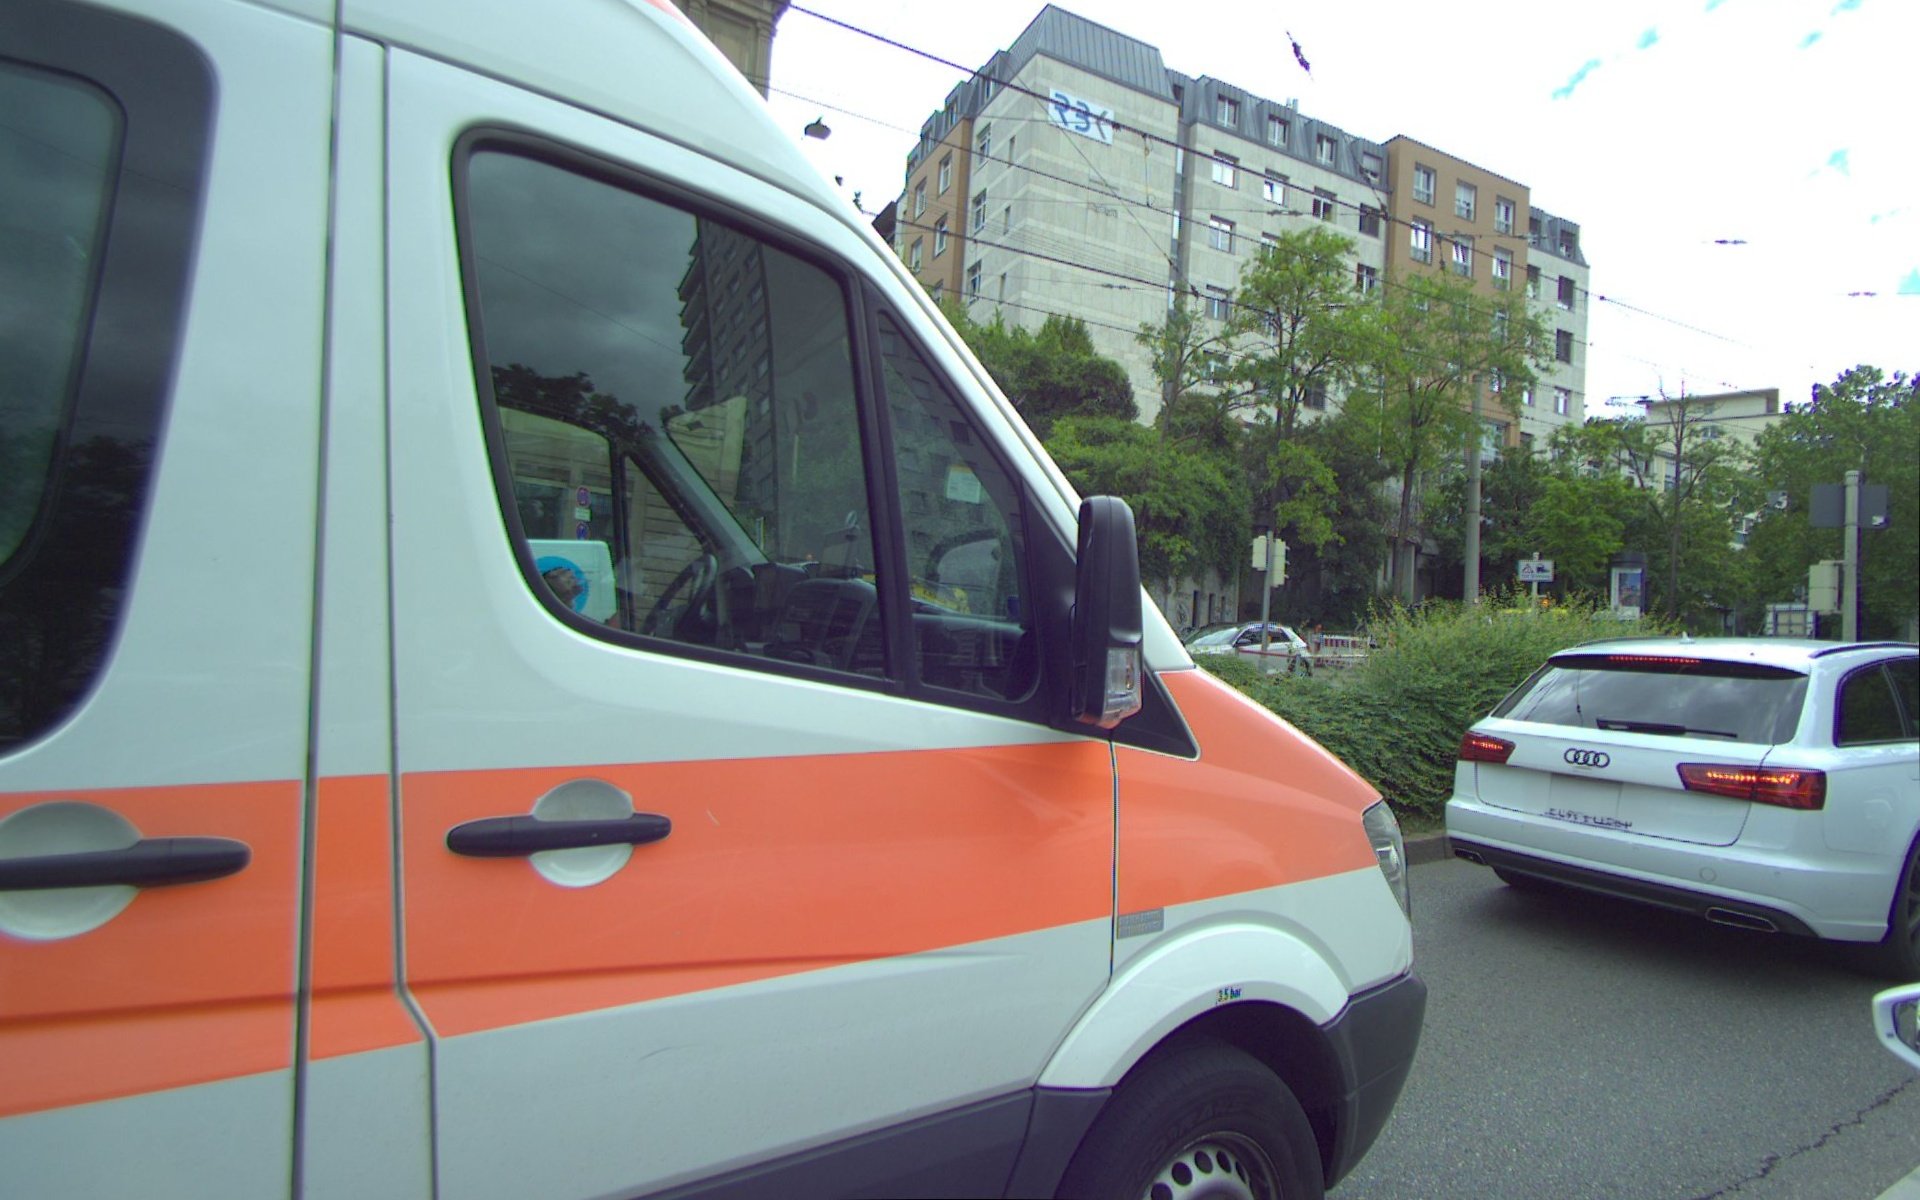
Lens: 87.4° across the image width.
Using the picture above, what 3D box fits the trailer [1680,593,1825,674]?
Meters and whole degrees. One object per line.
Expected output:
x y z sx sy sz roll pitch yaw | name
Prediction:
31.005 1.330 39.289 5.510 3.013 2.014 2 0 -23 | trailer

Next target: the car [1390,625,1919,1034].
4.686 0.922 5.648 4.564 1.474 1.870 2 -2 -31 | car

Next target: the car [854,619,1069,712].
0.060 1.100 17.772 3.529 1.473 1.634 1 -1 -35 | car

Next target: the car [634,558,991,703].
-2.782 0.634 20.074 6.687 2.468 2.425 2 -2 -35 | car

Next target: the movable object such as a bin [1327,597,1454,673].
14.979 1.204 34.945 4.045 2.500 1.926 1 0 -27 | movable object such as a bin

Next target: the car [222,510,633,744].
-7.135 0.404 14.129 4.711 2.860 2.206 1 -2 -20 | car

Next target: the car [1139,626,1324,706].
5.885 1.379 21.642 3.958 1.587 1.693 2 -2 -33 | car

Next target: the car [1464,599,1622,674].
22.017 1.388 37.871 6.255 2.628 2.149 2 -2 -27 | car

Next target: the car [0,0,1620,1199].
-1.657 0.429 1.477 5.785 2.735 2.024 2 -1 -30 | car

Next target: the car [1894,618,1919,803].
10.551 1.006 9.159 4.312 1.592 2.026 2 -2 -33 | car

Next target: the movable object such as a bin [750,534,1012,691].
-1.904 0.393 26.168 6.500 3.595 2.722 2 -2 -42 | movable object such as a bin

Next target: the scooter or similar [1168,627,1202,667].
7.453 1.546 33.232 1.282 1.307 0.423 1 -2 -42 | scooter or similar
